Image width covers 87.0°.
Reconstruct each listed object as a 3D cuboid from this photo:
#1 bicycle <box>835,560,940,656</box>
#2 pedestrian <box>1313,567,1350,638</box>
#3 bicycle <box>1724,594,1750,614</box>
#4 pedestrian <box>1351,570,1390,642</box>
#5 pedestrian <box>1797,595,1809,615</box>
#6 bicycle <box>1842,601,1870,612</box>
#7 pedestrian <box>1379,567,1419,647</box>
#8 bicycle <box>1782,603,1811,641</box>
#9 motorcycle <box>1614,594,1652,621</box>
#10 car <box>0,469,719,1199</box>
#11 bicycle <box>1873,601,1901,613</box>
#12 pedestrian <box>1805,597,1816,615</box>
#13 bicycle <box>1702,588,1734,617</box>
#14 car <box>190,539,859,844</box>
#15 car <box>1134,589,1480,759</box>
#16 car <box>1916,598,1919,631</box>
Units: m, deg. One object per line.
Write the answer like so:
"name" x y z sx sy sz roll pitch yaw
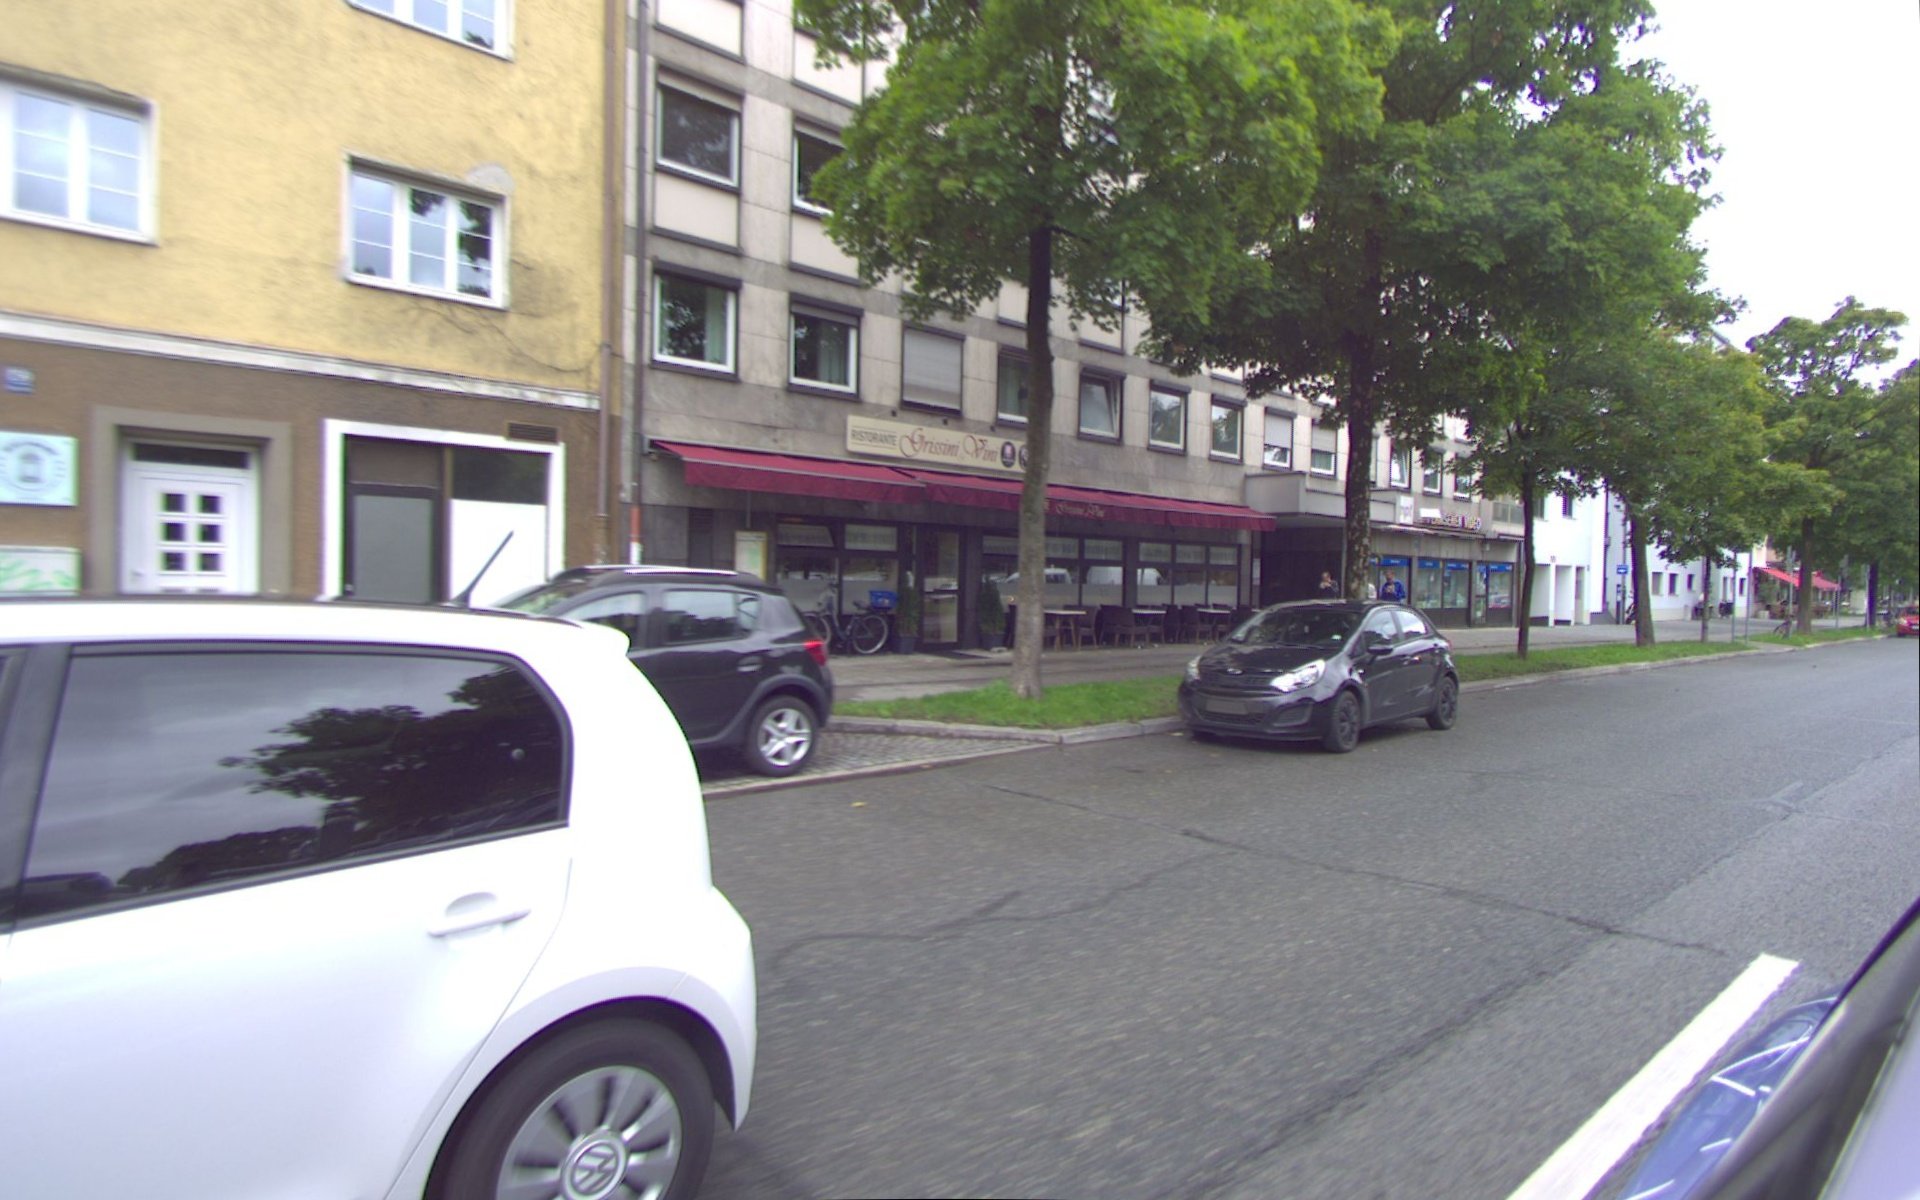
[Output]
"bicycle" -1.159 0.117 16.459 1.658 1.482 0.581 0 1 -40
"pedestrian" 8.886 0.059 24.176 0.541 1.661 0.713 3 1 43
"bicycle" 43.640 0.242 56.836 2.156 1.059 0.623 0 5 -40
"pedestrian" 9.588 0.136 23.653 0.630 1.649 0.550 1 2 -40
"pedestrian" 59.414 0.345 71.352 0.543 1.356 0.539 1 1 -41
"bicycle" 91.300 0.657 103.138 0.653 1.081 2.028 1 1 -44
"pedestrian" 9.918 0.147 22.846 0.720 1.754 0.501 1 2 -40
"bicycle" 29.251 0.744 35.408 0.452 1.271 2.126 2 1 31
"motorcycle" 28.733 0.312 43.217 2.160 1.099 0.763 0 2 -40
"car" -2.352 0.554 1.767 3.375 1.509 1.689 0 0 -42
"bicycle" 92.881 0.688 101.430 0.653 1.081 2.028 1 1 -44
"pedestrian" 61.097 0.442 72.714 0.478 1.229 0.539 1 1 -40
"bicycle" 40.298 0.132 53.794 2.547 1.424 0.704 0 5 -41
"car" -3.099 0.476 7.665 4.256 1.663 1.998 0 1 -40
"car" 3.894 0.647 11.047 3.933 1.470 1.995 0 1 -44
"car" 44.286 0.649 45.118 3.922 1.459 1.527 0 1 -33
